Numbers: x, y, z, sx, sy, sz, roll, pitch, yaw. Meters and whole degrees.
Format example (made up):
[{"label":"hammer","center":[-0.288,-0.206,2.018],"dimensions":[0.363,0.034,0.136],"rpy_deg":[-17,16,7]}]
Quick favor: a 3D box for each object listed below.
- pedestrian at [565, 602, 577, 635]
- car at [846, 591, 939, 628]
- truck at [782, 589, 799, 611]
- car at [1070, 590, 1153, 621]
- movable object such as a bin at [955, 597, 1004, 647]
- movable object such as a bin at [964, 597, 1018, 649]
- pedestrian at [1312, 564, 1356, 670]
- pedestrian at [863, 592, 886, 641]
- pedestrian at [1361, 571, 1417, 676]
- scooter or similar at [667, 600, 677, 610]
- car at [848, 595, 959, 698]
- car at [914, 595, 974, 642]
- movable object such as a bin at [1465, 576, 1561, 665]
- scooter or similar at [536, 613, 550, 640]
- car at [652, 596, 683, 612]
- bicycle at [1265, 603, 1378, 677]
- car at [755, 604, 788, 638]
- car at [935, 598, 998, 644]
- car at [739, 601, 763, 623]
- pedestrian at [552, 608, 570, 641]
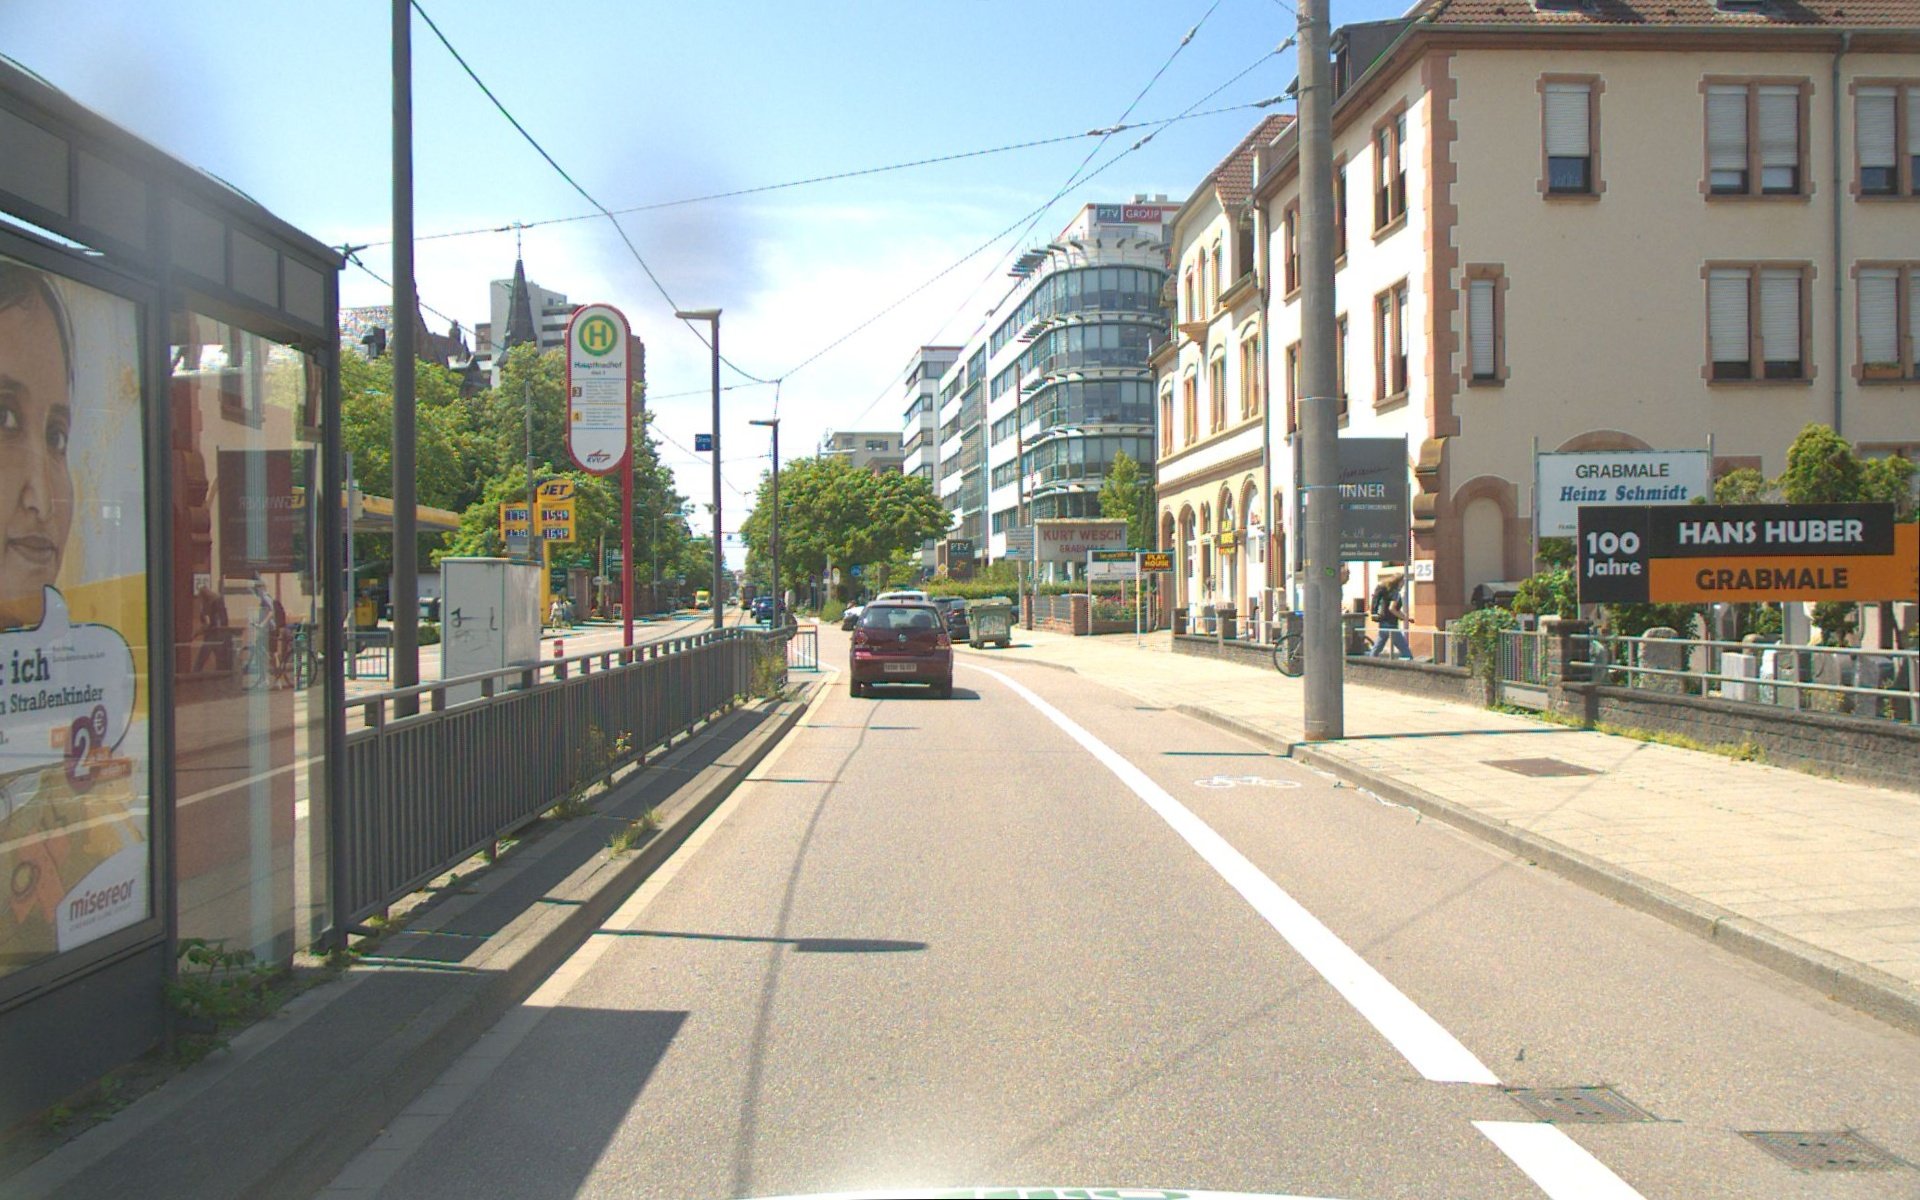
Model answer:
[{"label":"pedestrian","center":[-21.366,1.026,90.808],"dimensions":[0.569,1.807,0.698],"rpy_deg":[1,0,-11]},{"label":"car","center":[-3.406,0.465,82.604],"dimensions":[4.454,1.831,1.996],"rpy_deg":[0,0,-9]},{"label":"truck","center":[-21.078,0.003,205.762],"dimensions":[1.956,2.708,4.867],"rpy_deg":[1,0,-8]},{"label":"car","center":[7.825,0.278,85.772],"dimensions":[4.066,1.485,1.816],"rpy_deg":[-1,0,-4]},{"label":"movable object such as a bin","center":[0.602,0.674,52.025],"dimensions":[1.300,1.480,1.055],"rpy_deg":[-3,0,-11]},{"label":"movable object such as a bin","center":[0.938,0.684,49.885],"dimensions":[1.367,1.480,1.136],"rpy_deg":[-3,0,-11]},{"label":"pedestrian","center":[6.421,0.289,28.428],"dimensions":[0.673,1.803,0.503],"rpy_deg":[-1,0,8]},{"label":"pedestrian","center":[-3.557,0.665,68.473],"dimensions":[0.769,1.994,0.586],"rpy_deg":[-1,0,-23]},{"label":"pedestrian","center":[7.067,0.384,27.283],"dimensions":[0.806,1.720,0.589],"rpy_deg":[-1,0,8]},{"label":"scooter or similar","center":[-34.902,0.605,200.422],"dimensions":[1.076,1.175,0.522],"rpy_deg":[1,0,-29]},{"label":"car","center":[-0.843,0.688,26.612],"dimensions":[1.586,1.512,4.000],"rpy_deg":[1,0,0]},{"label":"car","center":[-0.693,0.712,66.924],"dimensions":[1.887,1.722,5.075],"rpy_deg":[-2,0,-6]},{"label":"movable object such as a bin","center":[9.911,0.356,29.662],"dimensions":[1.302,1.525,1.046],"rpy_deg":[-2,0,-2]},{"label":"scooter or similar","center":[-19.161,1.197,76.055],"dimensions":[0.509,1.221,1.373],"rpy_deg":[1,0,-10]},{"label":"car","center":[-40.156,0.558,226.874],"dimensions":[3.908,2.049,1.999],"rpy_deg":[-1,0,-4]},{"label":"bicycle","center":[6.113,0.680,28.058],"dimensions":[1.764,1.147,0.590],"rpy_deg":[-3,0,7]},{"label":"car","center":[-12.006,1.317,104.940],"dimensions":[1.956,2.049,3.993],"rpy_deg":[1,0,-8]},{"label":"car","center":[0.205,0.763,61.160],"dimensions":[1.739,1.575,4.460],"rpy_deg":[-2,0,-7]},{"label":"car","center":[-17.252,0.967,136.649],"dimensions":[1.956,1.769,3.994],"rpy_deg":[-1,0,-7]},{"label":"pedestrian","center":[-20.714,1.258,85.886],"dimensions":[0.611,1.720,0.723],"rpy_deg":[-1,0,10]}]
